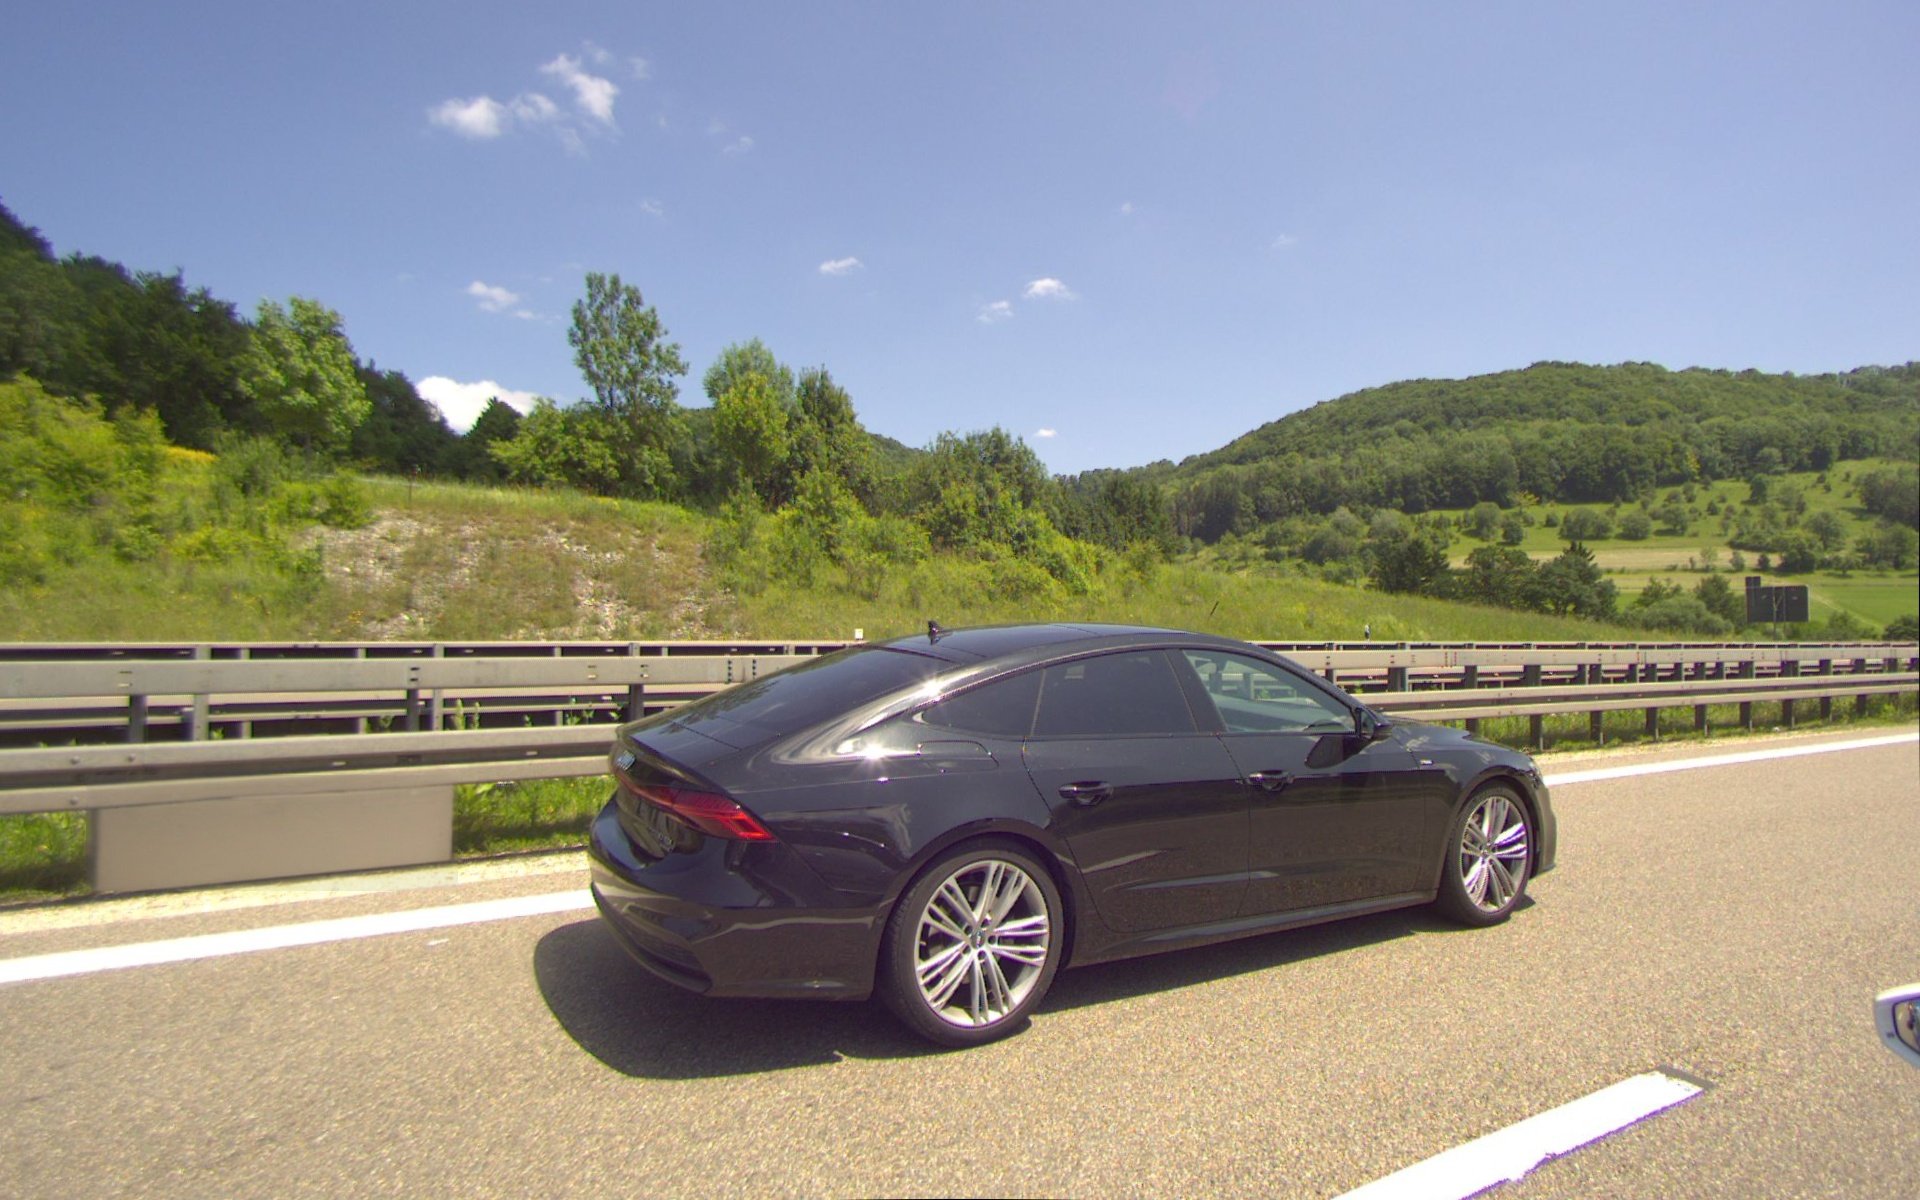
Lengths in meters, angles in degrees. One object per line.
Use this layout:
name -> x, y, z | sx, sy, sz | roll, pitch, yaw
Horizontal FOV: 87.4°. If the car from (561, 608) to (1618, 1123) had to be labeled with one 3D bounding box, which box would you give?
car -> 0.850, 0.784, 4.773 | 4.910, 1.409, 1.792 | 1, -1, -30
